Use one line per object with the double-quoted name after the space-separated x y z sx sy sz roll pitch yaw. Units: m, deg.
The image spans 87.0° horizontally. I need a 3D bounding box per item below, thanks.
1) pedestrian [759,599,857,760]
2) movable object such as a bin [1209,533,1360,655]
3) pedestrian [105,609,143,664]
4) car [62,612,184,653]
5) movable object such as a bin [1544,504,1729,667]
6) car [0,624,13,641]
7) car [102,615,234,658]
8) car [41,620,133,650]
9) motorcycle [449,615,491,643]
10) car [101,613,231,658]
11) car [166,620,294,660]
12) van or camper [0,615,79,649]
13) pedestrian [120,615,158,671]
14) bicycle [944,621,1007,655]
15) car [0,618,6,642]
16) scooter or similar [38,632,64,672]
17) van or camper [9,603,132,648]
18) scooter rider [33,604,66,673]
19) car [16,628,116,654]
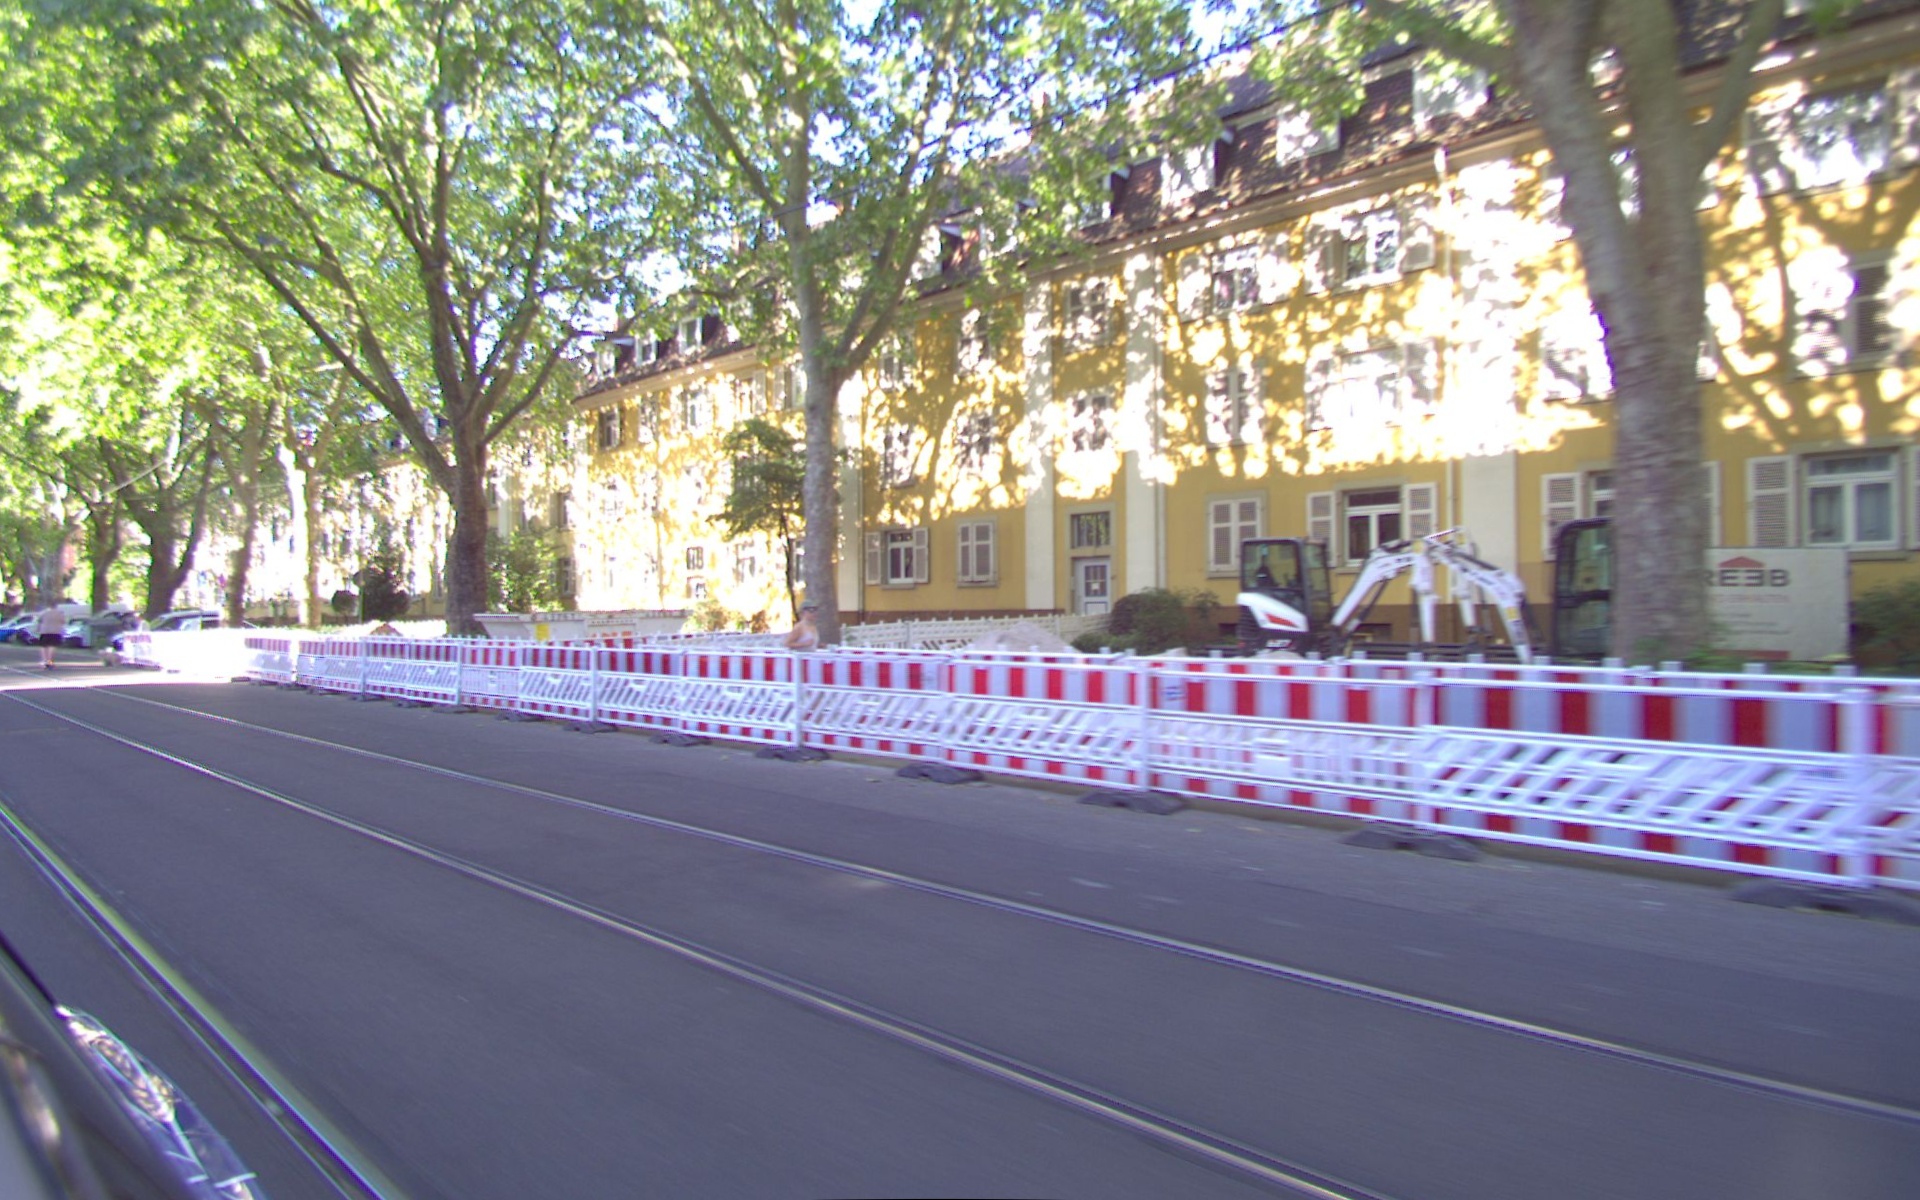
-1.670 0.836 11.126 0.778 1.682 0.709 -1 0 42 "pedestrian"
5.352 -0.092 16.727 2.007 1.882 1.319 -1 0 41 "movable object such as a bin"
-27.371 1.192 33.147 0.796 1.758 0.813 -1 0 41 "pedestrian"
-43.777 1.684 53.003 1.959 1.960 4.613 -2 0 38 "car"
7.457 -0.147 11.173 1.559 1.658 1.086 -1 0 41 "movable object such as a bin"
-92.228 3.131 95.368 1.923 1.527 4.119 -2 -1 39 "car"
-32.818 1.477 42.002 4.183 1.701 1.935 0 -2 -42 "car"
-50.390 2.004 58.471 1.861 1.675 3.807 -2 -2 41 "car"
-22.542 1.336 46.596 0.523 1.250 1.691 -2 -1 42 "motorcycle"
-34.309 1.517 43.814 1.738 1.771 4.158 -2 0 39 "car"
-28.963 1.551 40.231 1.861 1.509 3.807 -2 -2 41 "car"
-63.903 2.166 69.543 2.118 2.206 4.771 -2 0 40 "van or camper"
-26.545 1.384 32.735 0.796 1.758 0.813 -1 0 41 "pedestrian"
0.386 0.966 25.816 1.641 0.825 0.501 -1 -1 38 "bicycle"
-97.921 3.026 100.068 2.026 2.415 4.956 -3 -1 39 "car"
-26.489 1.506 29.473 1.338 1.091 0.403 -1 0 42 "scooter or similar"
-54.030 1.532 61.574 2.443 2.535 5.334 -2 0 40 "van or camper"
-26.541 1.116 29.500 0.624 1.972 0.642 -1 0 41 "scooter rider"
-52.491 2.374 59.465 1.752 1.409 4.219 -2 -2 41 "car"
